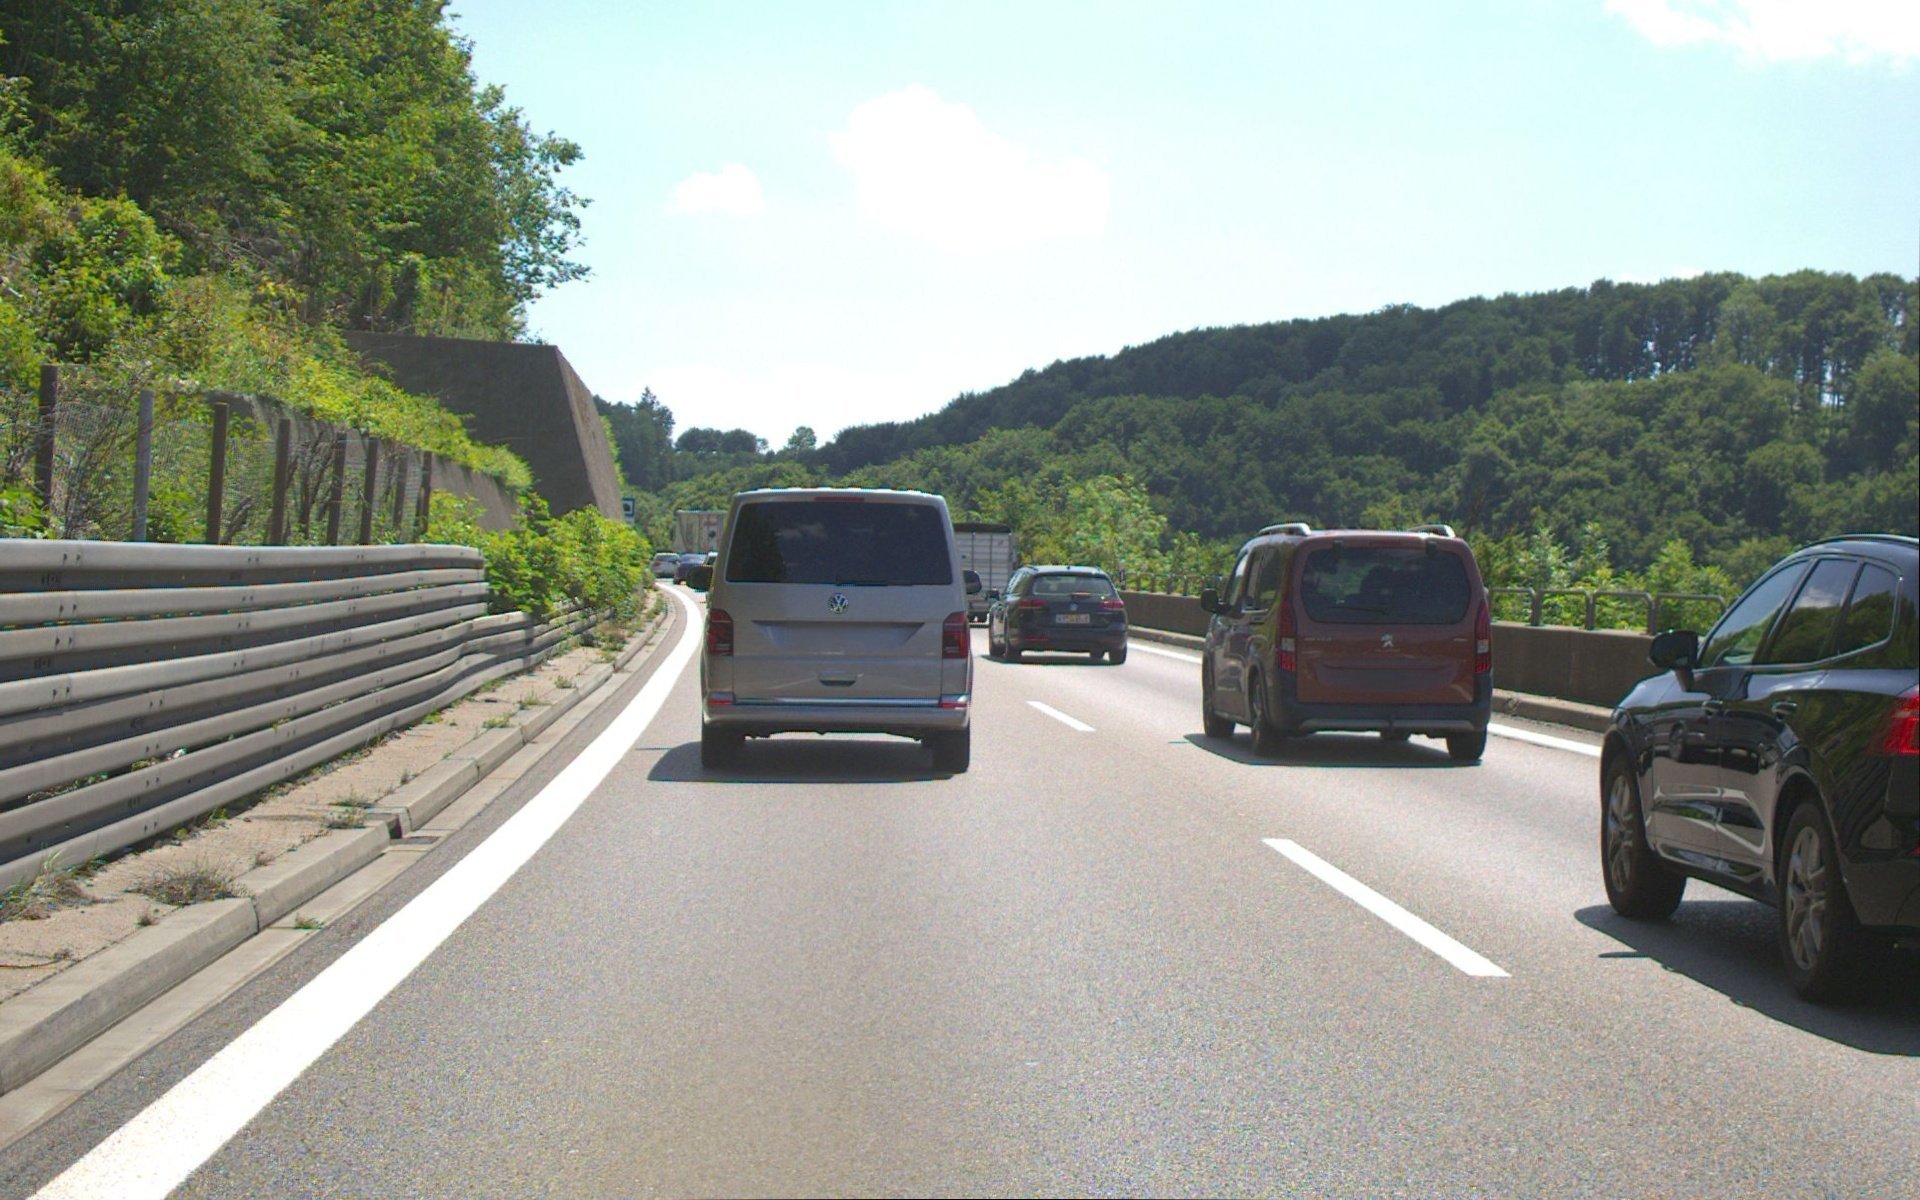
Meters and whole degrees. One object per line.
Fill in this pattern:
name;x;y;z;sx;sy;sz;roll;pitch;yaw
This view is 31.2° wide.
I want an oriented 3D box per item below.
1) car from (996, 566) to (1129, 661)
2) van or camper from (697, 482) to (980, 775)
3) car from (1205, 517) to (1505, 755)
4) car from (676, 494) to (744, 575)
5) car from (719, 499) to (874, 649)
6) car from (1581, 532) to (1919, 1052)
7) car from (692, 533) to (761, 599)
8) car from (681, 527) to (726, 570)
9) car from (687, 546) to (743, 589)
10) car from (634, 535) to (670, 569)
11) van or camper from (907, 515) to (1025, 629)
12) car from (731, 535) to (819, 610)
car;1.522;0.182;52.077;1.768;1.371;3.593;0;1;-2
van or camper;-0.917;0.175;25.100;1.875;1.943;4.294;0;0;-3
car;3.147;0.259;28.270;1.833;1.778;4.676;0;0;-1
car;-15.405;-4.048;212.714;4.043;4.855;10.111;0;1;-3
car;-2.256;-0.375;48.266;1.993;2.007;4.000;0;1;0
car;3.758;0.570;13.117;1.834;1.628;4.663;1;1;-1
car;-7.013;-1.032;102.948;1.993;1.908;4.001;1;1;-4
car;-12.110;-2.416;162.404;1.993;2.007;4.000;0;0;-3
car;-9.566;-1.280;134.337;2.142;1.601;5.079;1;1;-4
car;-16.166;-2.549;180.491;1.845;1.744;4.001;1;1;-4
van or camper;0.105;-0.661;79.387;2.263;2.542;4.737;0;1;-5
car;-4.698;-0.711;86.881;1.993;1.811;4.001;1;1;-6
